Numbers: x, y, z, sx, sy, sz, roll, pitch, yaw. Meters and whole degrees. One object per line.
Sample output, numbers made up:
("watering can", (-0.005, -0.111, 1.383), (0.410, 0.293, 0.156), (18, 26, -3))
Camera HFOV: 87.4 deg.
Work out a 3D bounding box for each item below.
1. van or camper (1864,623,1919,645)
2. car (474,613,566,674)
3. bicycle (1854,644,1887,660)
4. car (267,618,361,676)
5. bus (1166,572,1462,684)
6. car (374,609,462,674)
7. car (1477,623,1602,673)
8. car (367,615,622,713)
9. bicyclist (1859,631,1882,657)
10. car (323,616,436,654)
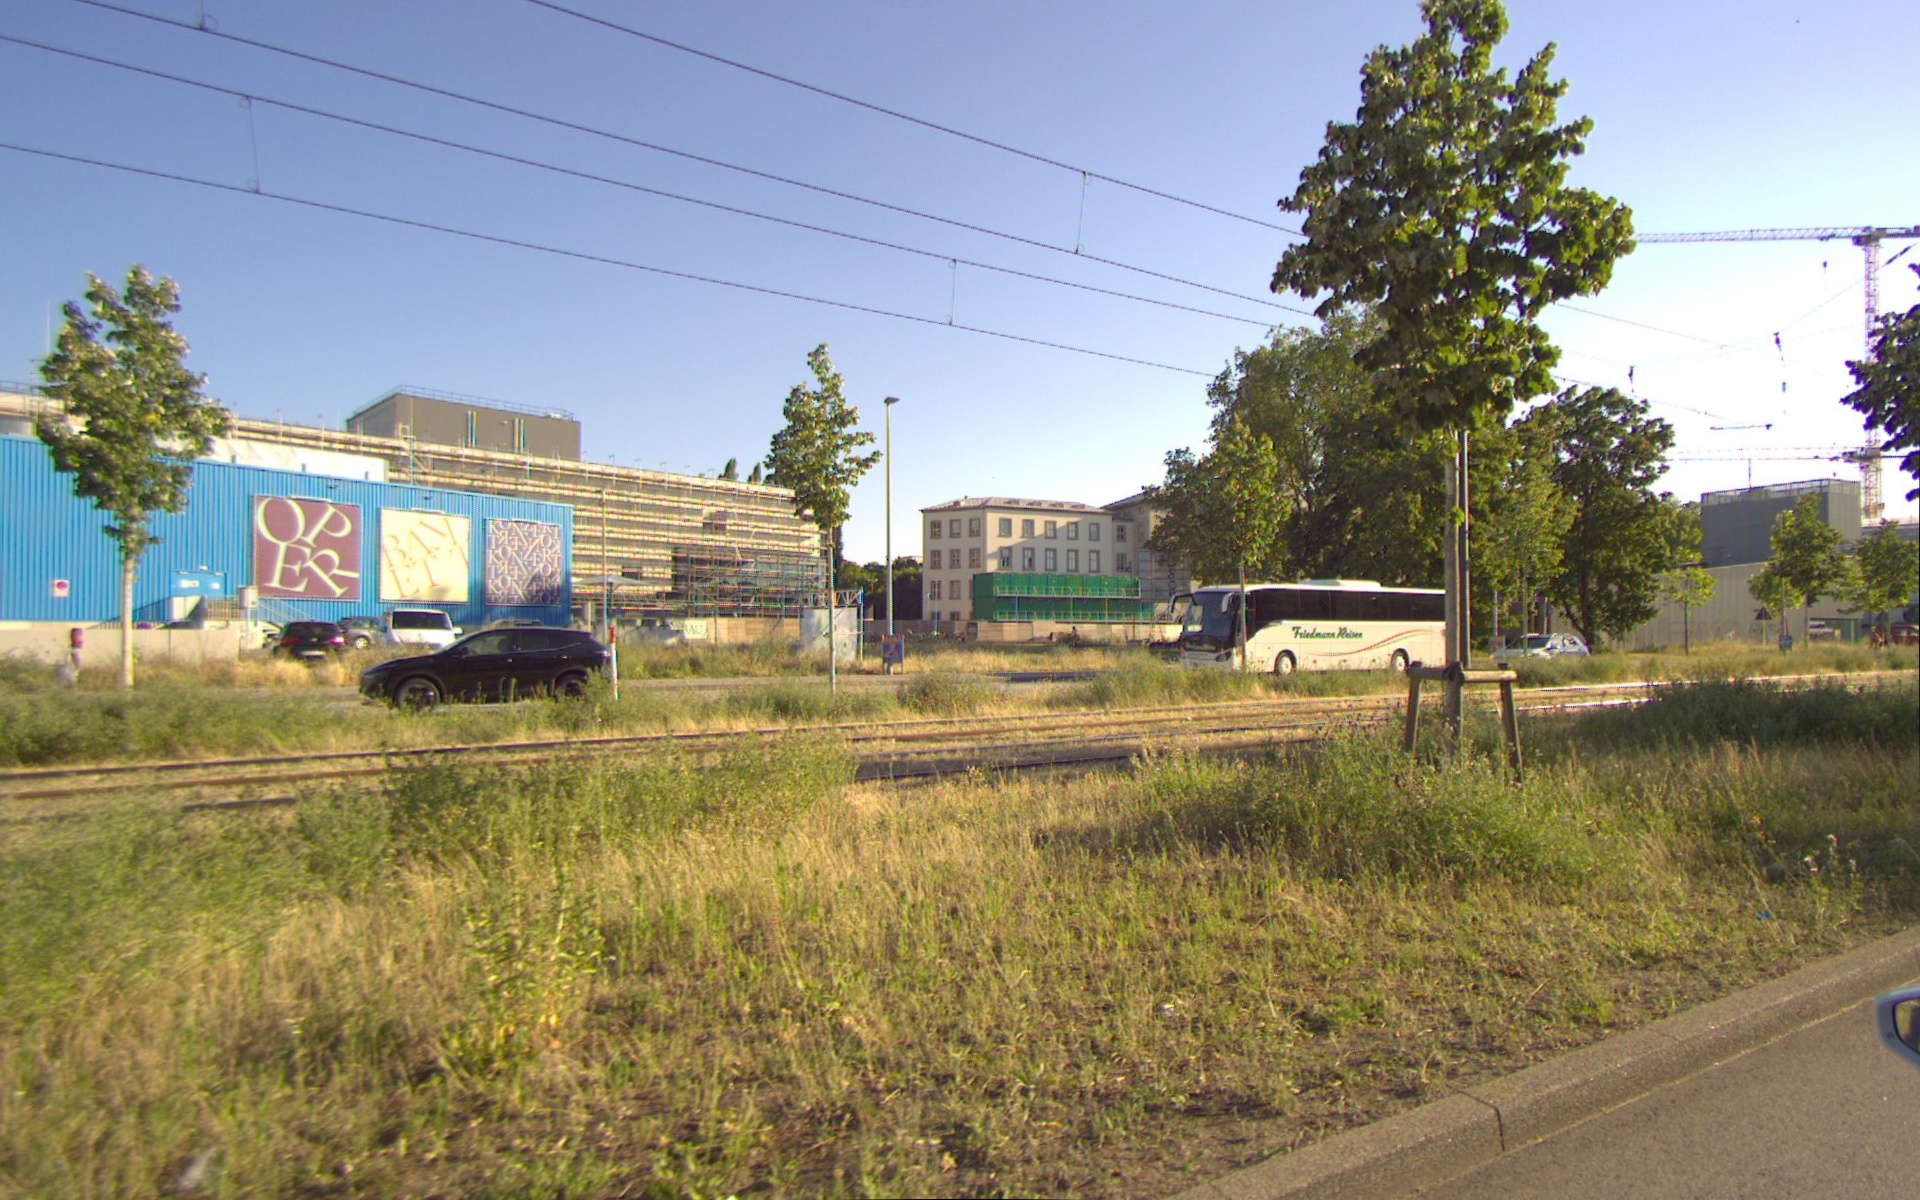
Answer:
("van or camper", (104.586, 3.747, 111.686), (2.125, 2.446, 5.645), (1, -2, -25))
("car", (-13.720, 1.307, 31.137), (2.100, 1.739, 5.203), (1, -2, -30))
("bicycle", (49.971, 2.842, 55.131), (2.119, 0.815, 0.685), (1, -2, -29))
("car", (-18.087, 1.282, 28.301), (1.976, 1.504, 3.969), (1, -2, -30))
("bus", (13.345, 1.044, 37.105), (12.543, 3.642, 2.787), (1, -1, -29))
("car", (-16.147, 1.204, 29.857), (2.100, 1.739, 5.203), (1, -2, -30))
("car", (20.281, 1.653, 35.147), (4.117, 1.664, 1.985), (1, -2, -29))
("car", (-8.866, 1.160, 19.240), (4.221, 1.672, 1.984), (1, -2, -30))
("bicyclist", (49.941, 2.411, 55.123), (0.860, 1.364, 0.685), (1, -1, -29))
("car", (-26.155, 1.568, 45.371), (1.389, 1.657, 4.210), (-1, -2, 36))
